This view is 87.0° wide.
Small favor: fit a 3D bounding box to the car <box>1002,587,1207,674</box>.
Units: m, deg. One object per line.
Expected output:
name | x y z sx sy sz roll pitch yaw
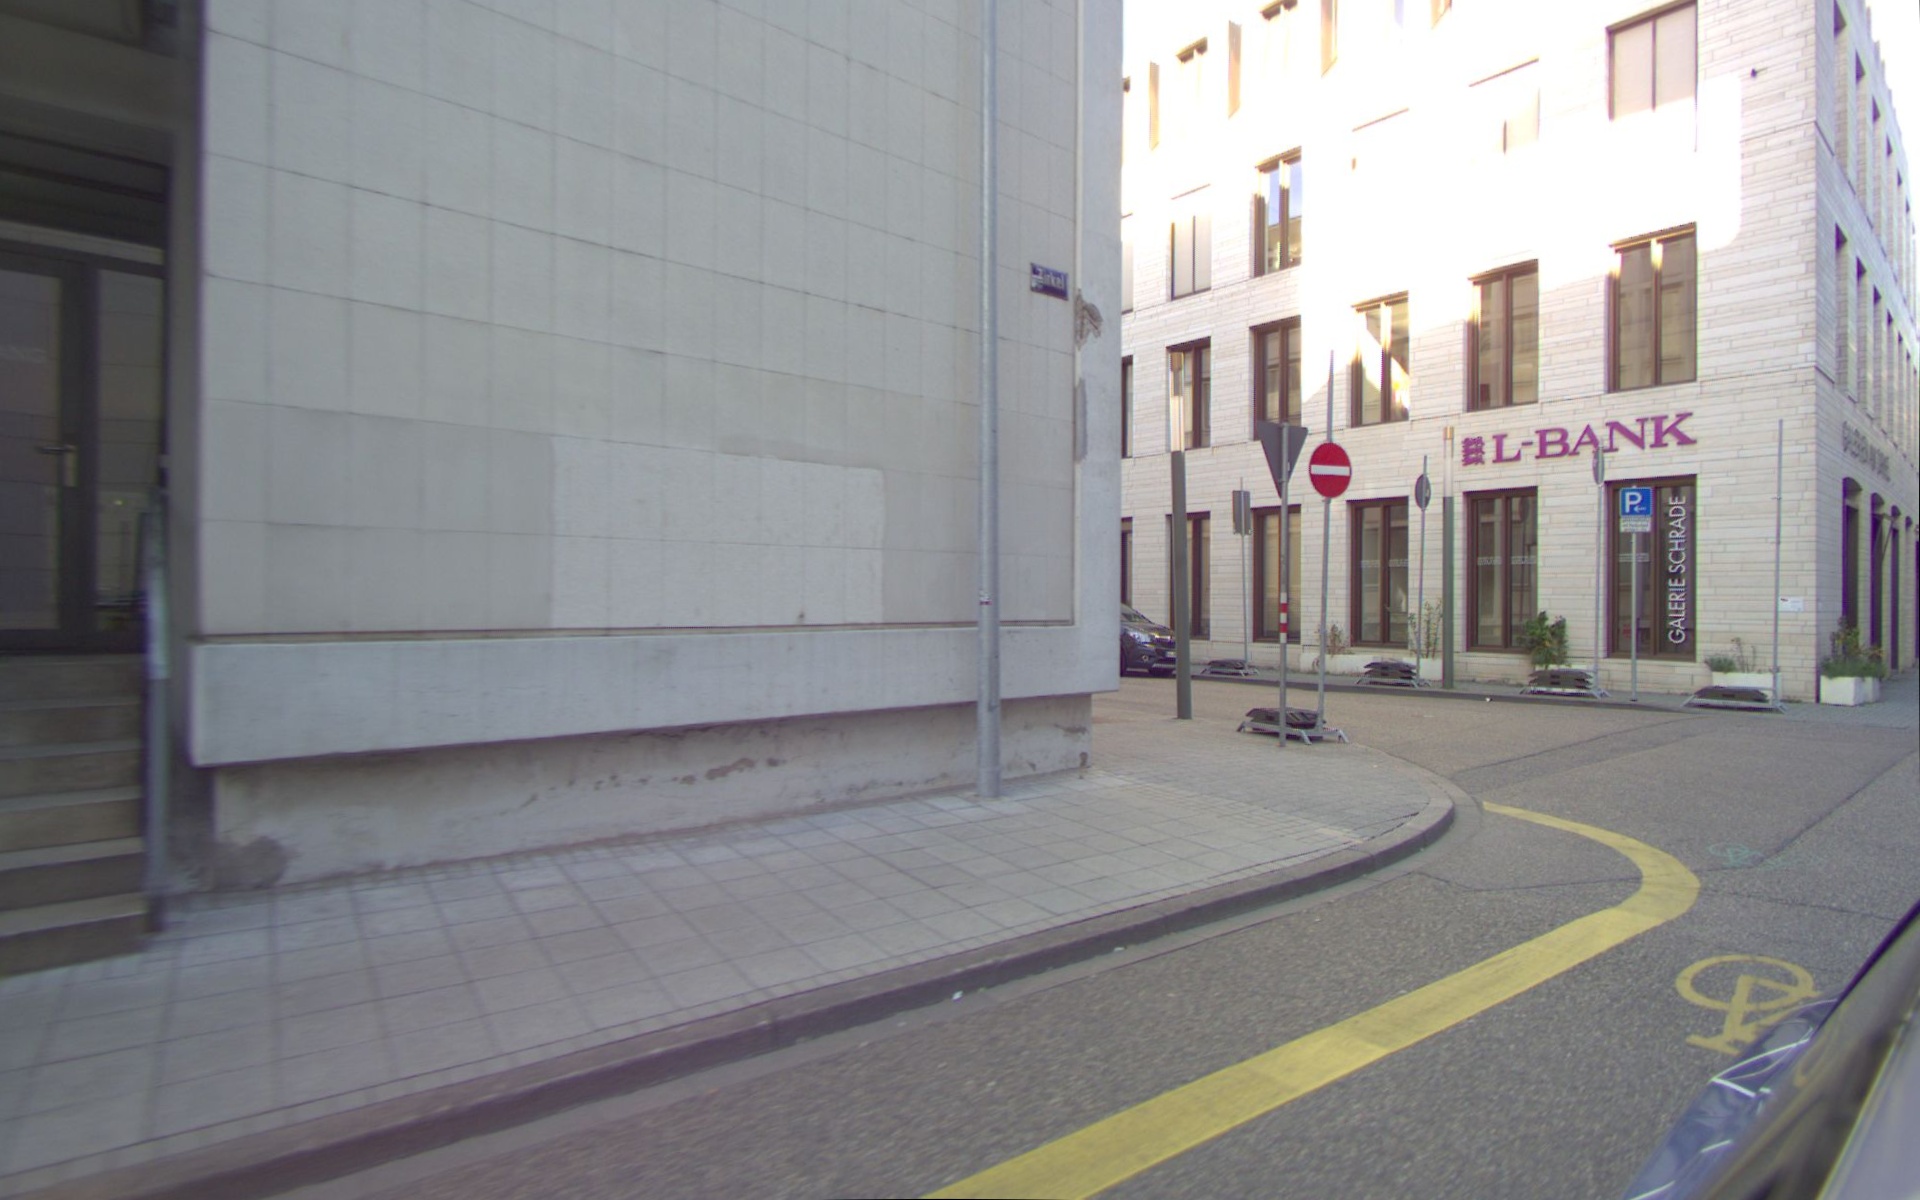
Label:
car | 3.016 0.640 21.813 1.796 1.699 4.257 3 -2 -40
